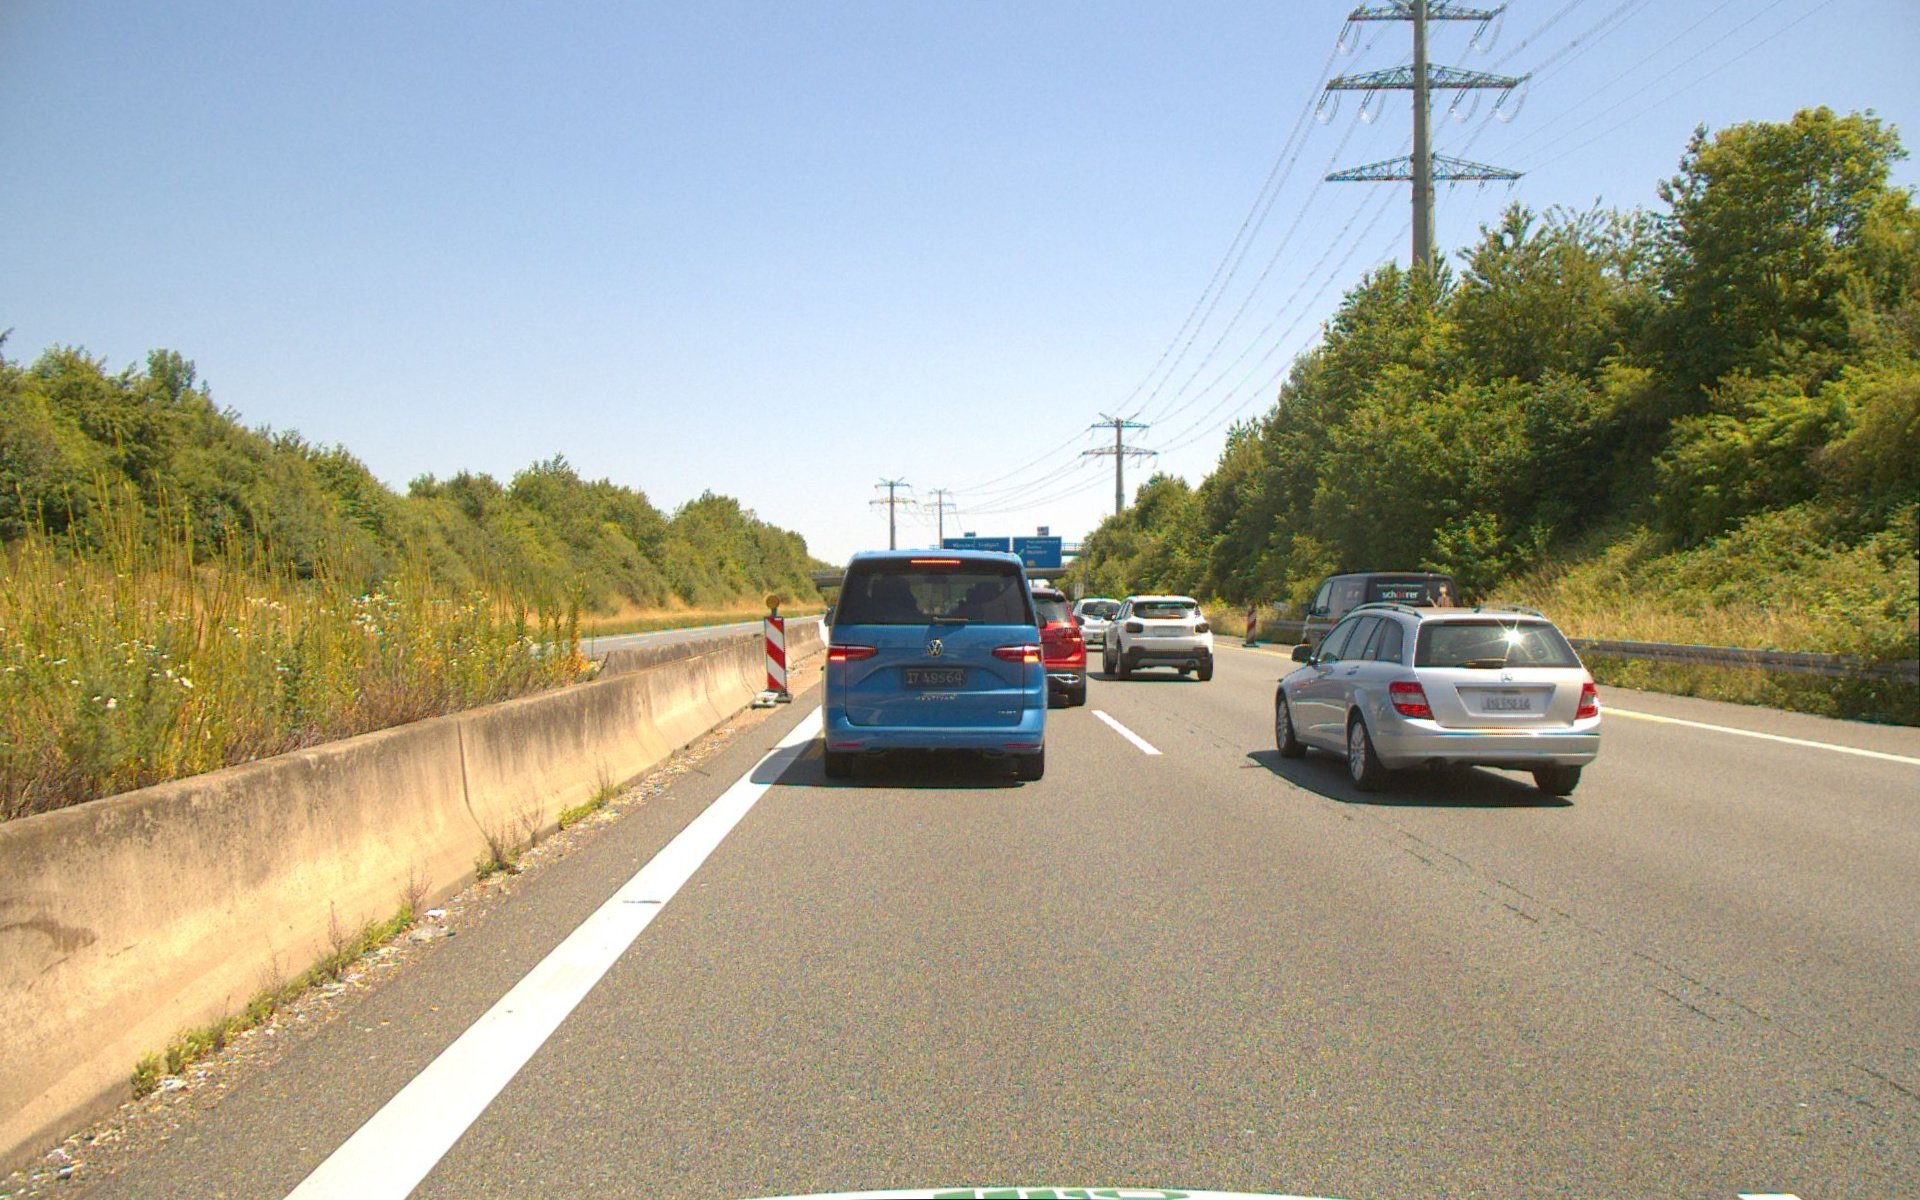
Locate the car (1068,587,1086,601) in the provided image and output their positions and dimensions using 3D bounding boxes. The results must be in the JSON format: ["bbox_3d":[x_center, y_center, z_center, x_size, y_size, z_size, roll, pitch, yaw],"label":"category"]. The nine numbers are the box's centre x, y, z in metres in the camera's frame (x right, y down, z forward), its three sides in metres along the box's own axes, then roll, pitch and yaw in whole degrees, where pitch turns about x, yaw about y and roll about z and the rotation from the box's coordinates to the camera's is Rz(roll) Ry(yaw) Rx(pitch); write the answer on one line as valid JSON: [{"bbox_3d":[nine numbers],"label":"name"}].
[{"bbox_3d":[15.140,-0.797,213.831,1.836,1.700,4.358,1,0,-2],"label":"car"}]

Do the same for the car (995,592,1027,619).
[{"bbox_3d":[3.105,0.338,101.834,1.761,1.622,4.226,1,0,-1],"label":"car"}]

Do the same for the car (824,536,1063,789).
[{"bbox_3d":[-0.185,0.496,15.120,1.836,1.945,4.358,1,0,-2],"label":"car"}]

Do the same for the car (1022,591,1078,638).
[{"bbox_3d":[3.284,0.525,61.032,1.761,1.622,4.226,1,0,-1],"label":"car"}]

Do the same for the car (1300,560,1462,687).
[{"bbox_3d":[7.312,0.384,29.140,1.761,2.049,4.227,1,0,0],"label":"car"}]

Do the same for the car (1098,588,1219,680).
[{"bbox_3d":[3.739,0.617,31.793,1.761,1.622,4.226,1,0,-1],"label":"car"}]

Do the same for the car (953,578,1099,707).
[{"bbox_3d":[0.882,0.573,24.370,1.836,1.700,4.358,1,0,-2],"label":"car"}]

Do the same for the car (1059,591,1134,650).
[{"bbox_3d":[3.922,0.580,48.238,1.761,1.622,4.226,1,0,-1],"label":"car"}]

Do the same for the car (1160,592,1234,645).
[{"bbox_3d":[7.732,0.592,54.372,1.761,1.622,4.226,1,0,-1],"label":"car"}]

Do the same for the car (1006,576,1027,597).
[{"bbox_3d":[6.896,-1.611,203.490,2.329,2.470,4.226,1,0,-1],"label":"car"}]

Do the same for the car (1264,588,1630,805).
[{"bbox_3d":[3.935,0.706,14.174,1.735,1.544,4.358,1,0,-2],"label":"car"}]

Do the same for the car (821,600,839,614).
[{"bbox_3d":[-16.495,0.848,210.260,1.953,1.678,4.629,-3,0,-1],"label":"car"}]

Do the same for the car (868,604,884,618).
[{"bbox_3d":[-11.076,1.418,217.631,1.953,1.691,4.229,-1,0,-1],"label":"car"}]
